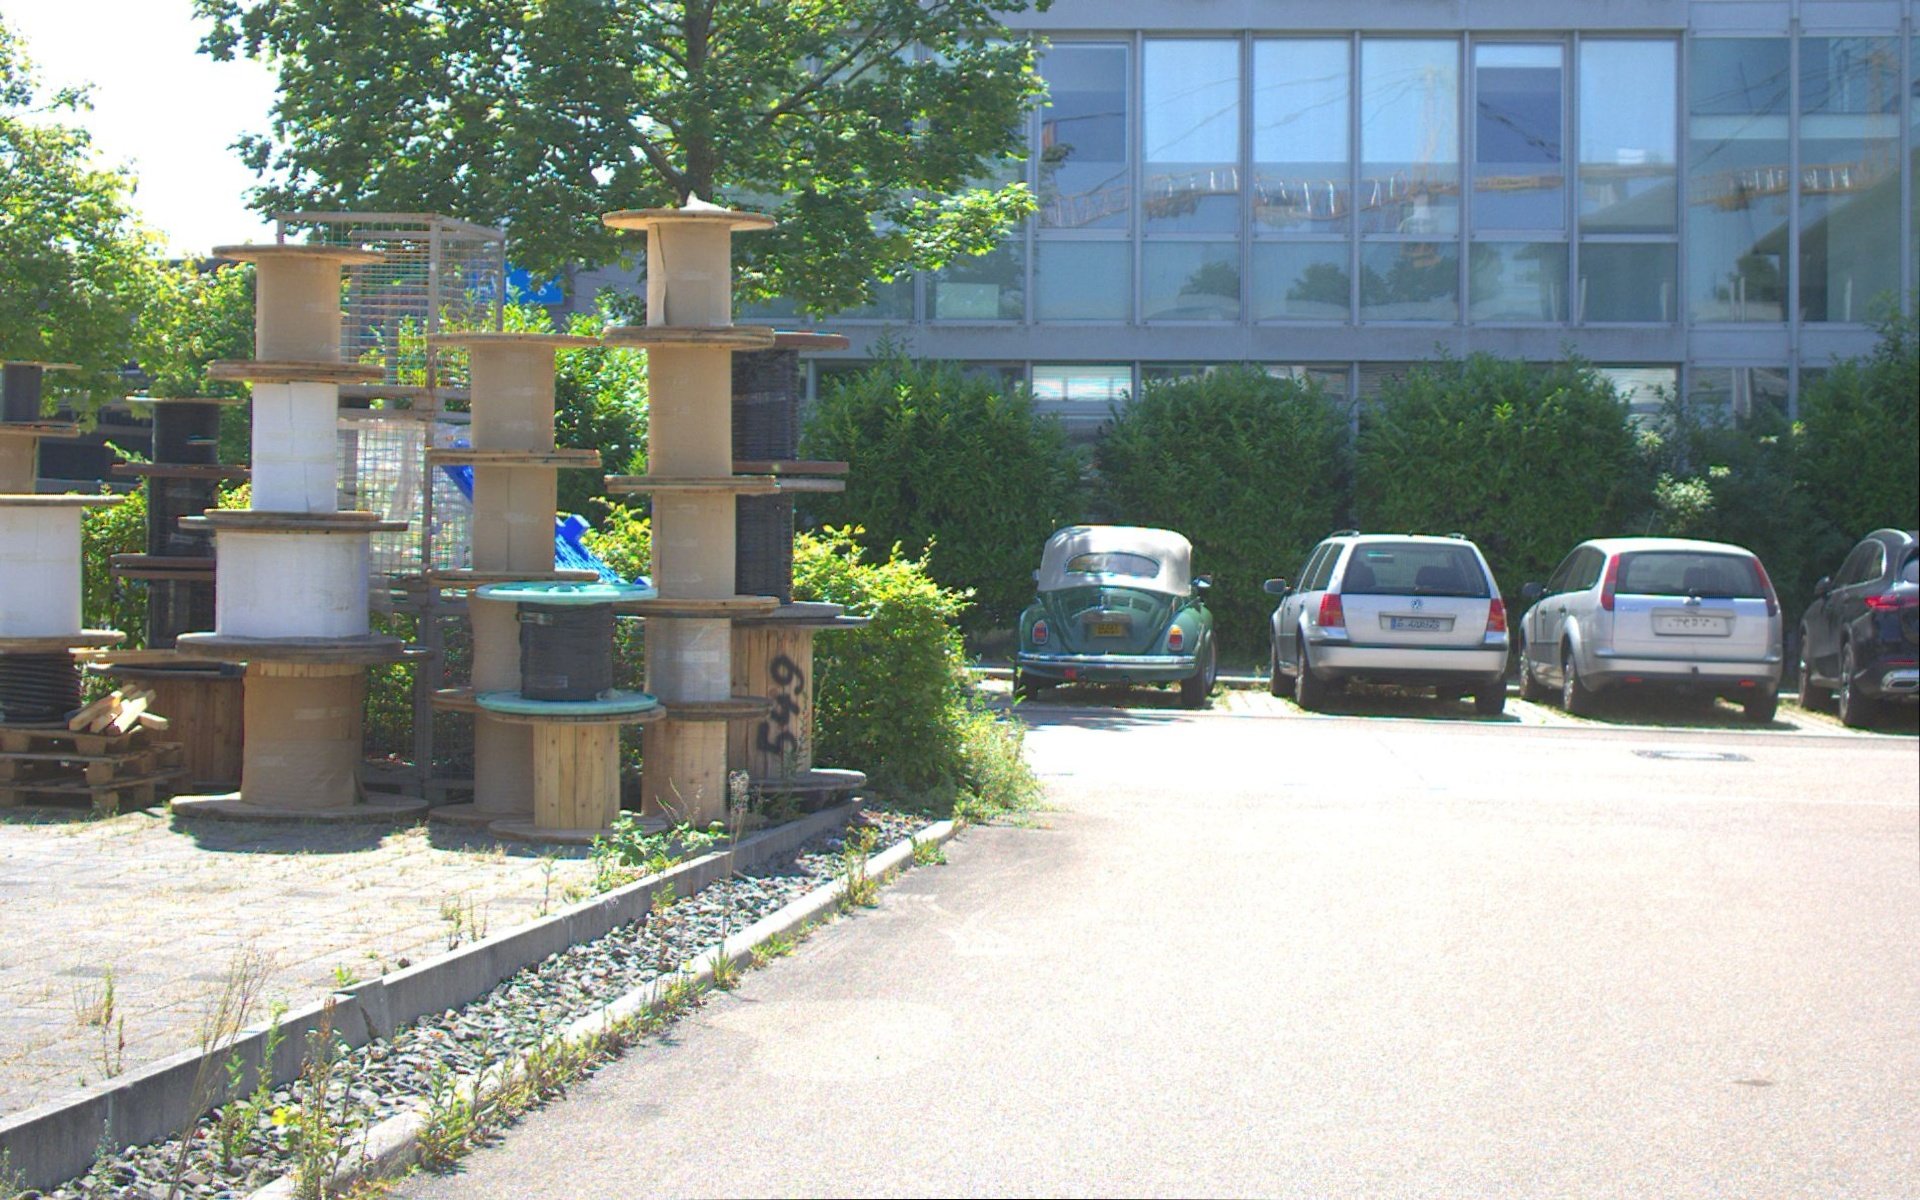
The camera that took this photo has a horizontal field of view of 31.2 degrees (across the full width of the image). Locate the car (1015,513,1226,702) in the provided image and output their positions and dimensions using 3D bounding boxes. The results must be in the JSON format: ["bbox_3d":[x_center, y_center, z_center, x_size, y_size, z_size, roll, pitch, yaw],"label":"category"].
[{"bbox_3d":[1.424,0.014,29.323,1.542,1.444,3.653,2,2,6],"label":"car"}]

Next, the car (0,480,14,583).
[{"bbox_3d":[-16.381,-1.052,49.992,4.844,1.486,1.998,2,2,22],"label":"car"}]

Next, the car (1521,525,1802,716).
[{"bbox_3d":[5.965,0.128,29.603,1.765,1.444,3.654,2,2,2],"label":"car"}]

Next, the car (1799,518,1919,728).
[{"bbox_3d":[8.322,0.155,28.933,1.927,1.605,3.986,2,2,7],"label":"car"}]

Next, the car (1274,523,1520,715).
[{"bbox_3d":[3.653,0.112,29.281,1.732,1.444,3.654,2,2,2],"label":"car"}]
